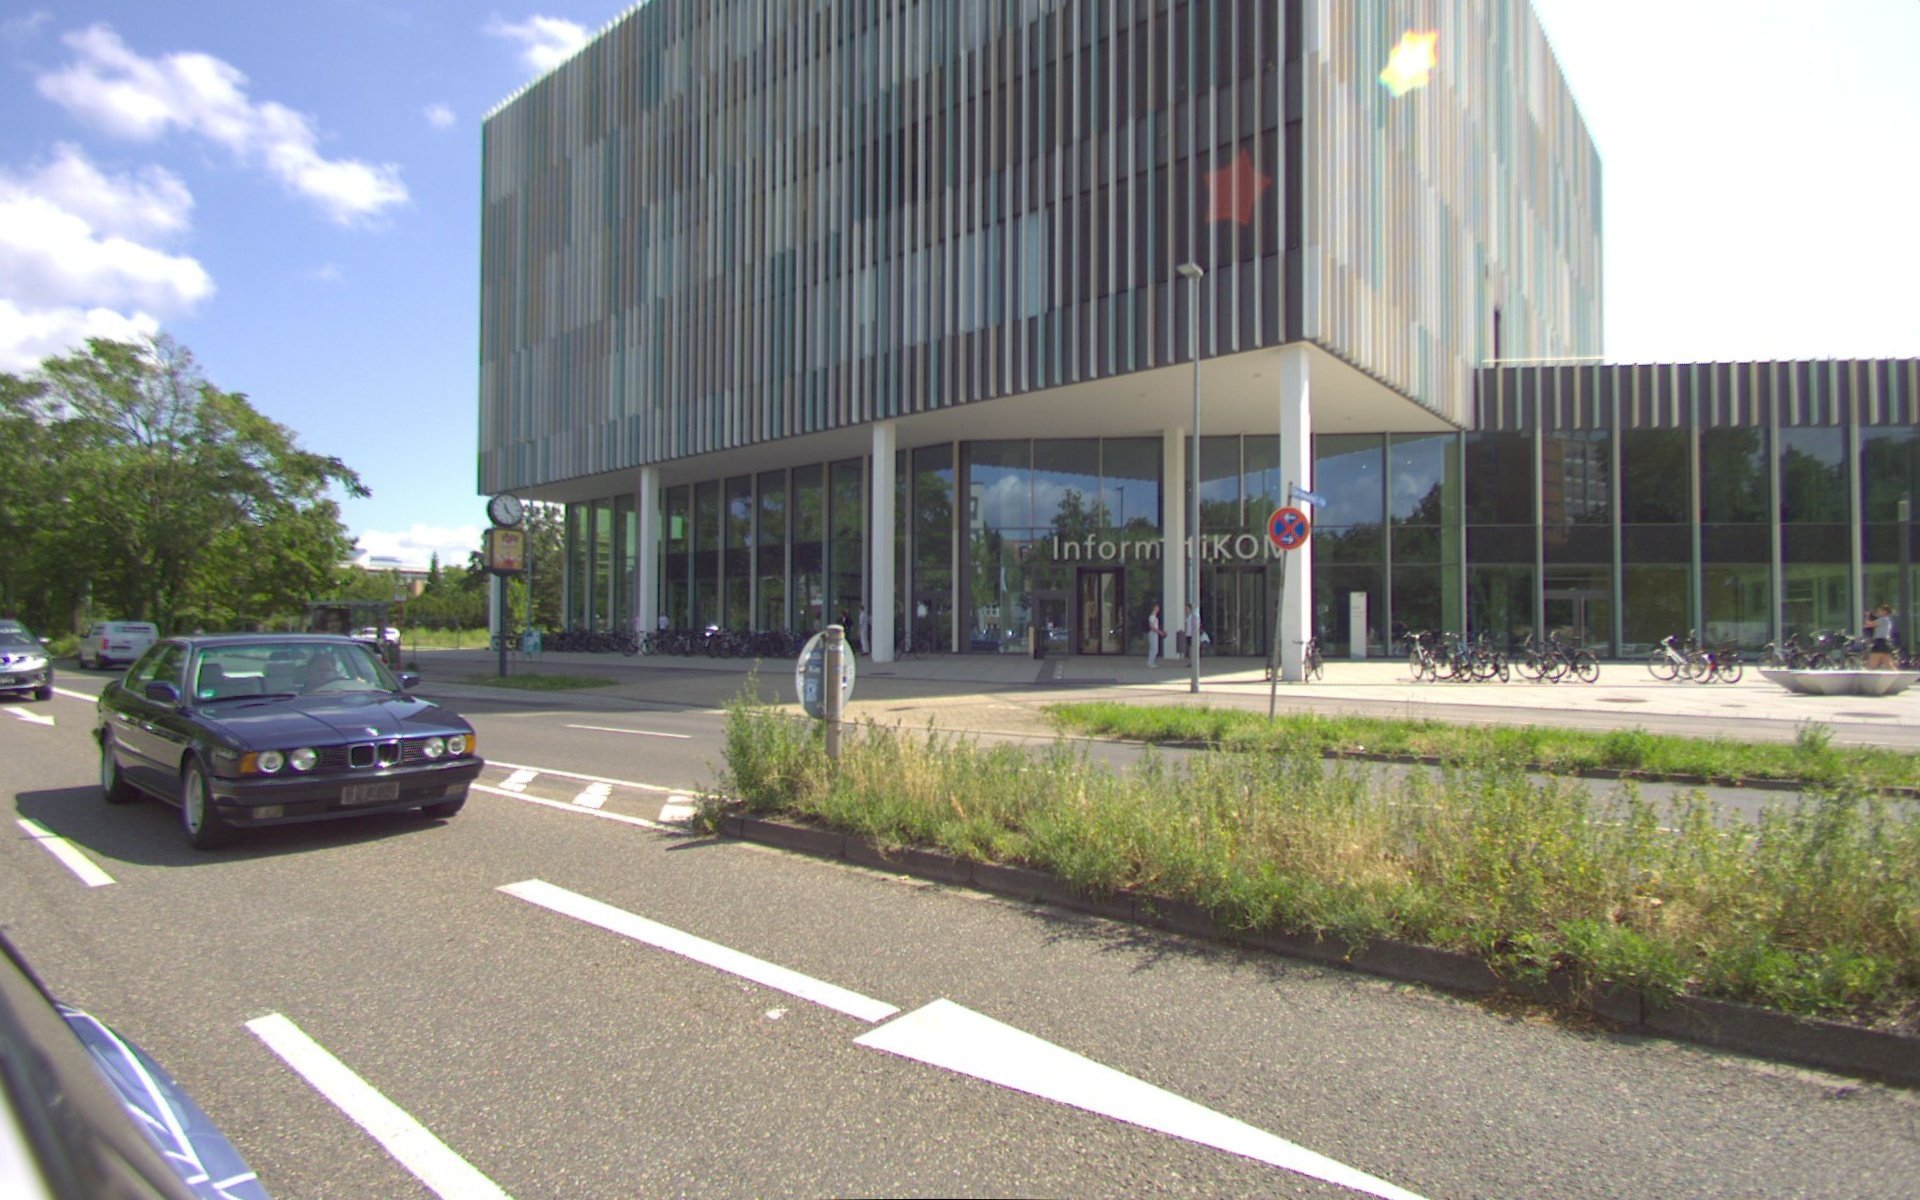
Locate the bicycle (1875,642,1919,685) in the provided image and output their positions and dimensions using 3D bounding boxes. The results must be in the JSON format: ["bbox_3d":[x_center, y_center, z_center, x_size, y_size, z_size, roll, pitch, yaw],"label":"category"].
[{"bbox_3d":[22.223,1.473,23.258,0.520,0.962,1.777,0,-1,-12],"label":"bicycle"}]

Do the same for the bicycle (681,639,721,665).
[{"bbox_3d":[-10.423,2.075,40.695,1.521,0.962,0.374,-1,-1,-35],"label":"bicycle"}]

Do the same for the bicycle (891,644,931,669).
[{"bbox_3d":[-1.649,1.905,34.160,0.373,0.782,1.524,-2,-1,44],"label":"bicycle"}]

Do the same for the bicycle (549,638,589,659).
[{"bbox_3d":[-18.561,2.293,48.064,0.433,0.962,1.761,-2,-1,40],"label":"bicycle"}]

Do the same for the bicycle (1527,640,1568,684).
[{"bbox_3d":[13.937,1.449,24.048,0.525,0.962,1.761,-1,-1,20],"label":"bicycle"}]

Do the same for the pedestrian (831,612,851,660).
[{"bbox_3d":[-4.587,1.382,38.971,0.553,1.856,0.556,-1,-1,33],"label":"pedestrian"}]

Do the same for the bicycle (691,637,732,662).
[{"bbox_3d":[-9.867,1.957,40.196,1.521,0.962,0.374,-1,-1,-35],"label":"bicycle"}]

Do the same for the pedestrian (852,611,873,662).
[{"bbox_3d":[-3.621,1.355,37.596,0.553,1.856,0.556,-1,-1,33],"label":"pedestrian"}]

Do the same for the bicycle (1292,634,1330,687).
[{"bbox_3d":[8.439,1.434,24.293,0.373,1.196,1.526,0,0,39],"label":"bicycle"}]

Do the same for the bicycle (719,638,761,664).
[{"bbox_3d":[-8.450,1.956,38.922,1.521,0.962,0.374,-1,-1,-35],"label":"bicycle"}]

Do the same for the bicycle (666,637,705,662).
[{"bbox_3d":[-11.388,2.044,41.964,1.521,0.962,0.374,-1,-1,-35],"label":"bicycle"}]

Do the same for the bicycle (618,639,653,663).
[{"bbox_3d":[-13.624,2.131,42.506,0.372,0.962,1.531,-2,-1,29],"label":"bicycle"}]

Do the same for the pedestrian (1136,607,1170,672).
[{"bbox_3d":[5.620,1.135,29.493,0.775,1.856,0.519,0,-1,-15],"label":"pedestrian"}]

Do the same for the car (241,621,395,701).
[{"bbox_3d":[-16.086,1.506,25.266,4.725,1.825,1.708,-2,-4,38],"label":"car"}]

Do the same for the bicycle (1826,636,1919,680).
[{"bbox_3d":[21.138,1.323,23.410,0.521,0.962,1.776,0,-1,-6],"label":"bicycle"}]

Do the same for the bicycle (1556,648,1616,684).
[{"bbox_3d":[14.718,1.540,23.834,0.523,0.770,1.769,0,-1,8],"label":"bicycle"}]

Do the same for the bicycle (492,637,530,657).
[{"bbox_3d":[-23.043,2.411,51.944,0.433,0.962,1.761,-2,-1,40],"label":"bicycle"}]

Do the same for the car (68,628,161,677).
[{"bbox_3d":[-33.543,2.092,40.097,4.726,1.825,1.879,-2,-4,39],"label":"car"}]

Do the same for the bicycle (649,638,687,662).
[{"bbox_3d":[-12.323,2.108,42.749,1.521,0.962,0.374,-1,-1,-35],"label":"bicycle"}]

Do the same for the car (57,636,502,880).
[{"bbox_3d":[-5.598,1.009,8.064,4.608,1.397,1.675,-2,-2,39],"label":"car"}]

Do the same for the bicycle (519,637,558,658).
[{"bbox_3d":[-20.867,2.331,50.095,0.433,0.962,1.761,-2,-1,40],"label":"bicycle"}]

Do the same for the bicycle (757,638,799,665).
[{"bbox_3d":[-6.856,1.935,38.096,1.521,0.962,0.374,-1,-1,-35],"label":"bicycle"}]

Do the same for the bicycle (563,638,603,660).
[{"bbox_3d":[-17.688,2.292,47.498,0.433,0.962,1.761,-2,-1,40],"label":"bicycle"}]

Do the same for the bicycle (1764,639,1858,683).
[{"bbox_3d":[19.673,1.391,23.439,0.521,0.962,1.776,0,-1,-6],"label":"bicycle"}]

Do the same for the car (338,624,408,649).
[{"bbox_3d":[-40.144,2.467,69.242,3.771,1.522,1.901,-1,-1,-44],"label":"car"}]

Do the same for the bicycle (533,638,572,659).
[{"bbox_3d":[-19.668,2.345,48.890,0.433,0.962,1.761,-2,-1,40],"label":"bicycle"}]

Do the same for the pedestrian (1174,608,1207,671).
[{"bbox_3d":[6.825,1.156,29.945,0.680,1.856,0.679,0,-2,-42],"label":"pedestrian"}]

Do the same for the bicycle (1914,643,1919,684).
[{"bbox_3d":[22.992,1.472,23.094,0.520,0.962,1.777,0,-1,-12],"label":"bicycle"}]

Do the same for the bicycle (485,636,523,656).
[{"bbox_3d":[-23.585,2.381,52.389,0.433,0.962,1.761,-2,-1,40],"label":"bicycle"}]

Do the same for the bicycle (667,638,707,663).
[{"bbox_3d":[-11.207,2.082,41.575,1.521,0.962,0.374,-1,-1,-35],"label":"bicycle"}]

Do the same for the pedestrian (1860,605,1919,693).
[{"bbox_3d":[18.337,0.953,19.803,1.014,1.663,1.166,-2,-3,41],"label":"pedestrian"}]

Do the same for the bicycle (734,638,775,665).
[{"bbox_3d":[-7.865,1.981,38.740,1.521,0.962,0.374,-1,-1,-35],"label":"bicycle"}]

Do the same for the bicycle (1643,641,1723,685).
[{"bbox_3d":[16.979,1.466,23.818,0.521,0.962,1.774,0,-1,-3],"label":"bicycle"}]

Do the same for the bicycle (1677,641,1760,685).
[{"bbox_3d":[17.802,1.456,23.804,0.521,0.962,1.774,0,-1,-3],"label":"bicycle"}]

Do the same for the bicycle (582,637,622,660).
[{"bbox_3d":[-16.541,2.240,46.845,0.433,0.962,1.761,-2,-1,40],"label":"bicycle"}]

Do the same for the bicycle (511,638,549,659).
[{"bbox_3d":[-21.489,2.416,50.592,0.433,0.962,1.761,-2,-1,40],"label":"bicycle"}]

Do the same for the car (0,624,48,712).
[{"bbox_3d":[-20.263,1.354,20.795,4.477,1.691,1.800,-2,-2,42],"label":"car"}]

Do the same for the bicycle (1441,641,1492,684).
[{"bbox_3d":[12.185,1.494,24.396,0.368,0.962,1.772,0,-1,1],"label":"bicycle"}]

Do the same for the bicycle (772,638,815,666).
[{"bbox_3d":[-6.096,1.891,37.084,1.521,0.962,0.374,-1,-1,-35],"label":"bicycle"}]

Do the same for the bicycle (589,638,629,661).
[{"bbox_3d":[-15.885,2.213,45.827,0.433,0.962,1.761,-2,-1,40],"label":"bicycle"}]

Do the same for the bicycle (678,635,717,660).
[{"bbox_3d":[-10.678,1.927,41.199,1.521,0.962,0.374,-1,-1,-35],"label":"bicycle"}]

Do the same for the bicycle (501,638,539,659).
[{"bbox_3d":[-22.274,2.448,51.219,0.433,0.962,1.761,-2,-1,40],"label":"bicycle"}]

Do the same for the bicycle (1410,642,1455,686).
[{"bbox_3d":[11.243,1.510,24.107,0.368,0.962,1.545,0,-1,1],"label":"bicycle"}]

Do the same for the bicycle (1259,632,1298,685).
[{"bbox_3d":[7.742,1.411,24.576,0.373,1.196,1.526,0,0,39],"label":"bicycle"}]

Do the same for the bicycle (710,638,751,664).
[{"bbox_3d":[-8.933,1.968,39.362,1.521,0.962,0.374,-1,-1,-35],"label":"bicycle"}]

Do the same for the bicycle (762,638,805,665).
[{"bbox_3d":[-6.529,1.902,37.495,1.521,0.962,0.374,-1,-1,-35],"label":"bicycle"}]

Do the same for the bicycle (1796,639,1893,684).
[{"bbox_3d":[20.447,1.399,23.441,0.521,0.962,1.776,0,-1,-6],"label":"bicycle"}]

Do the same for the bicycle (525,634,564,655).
[{"bbox_3d":[-20.399,2.182,49.707,0.433,0.962,1.761,-2,-1,40],"label":"bicycle"}]
